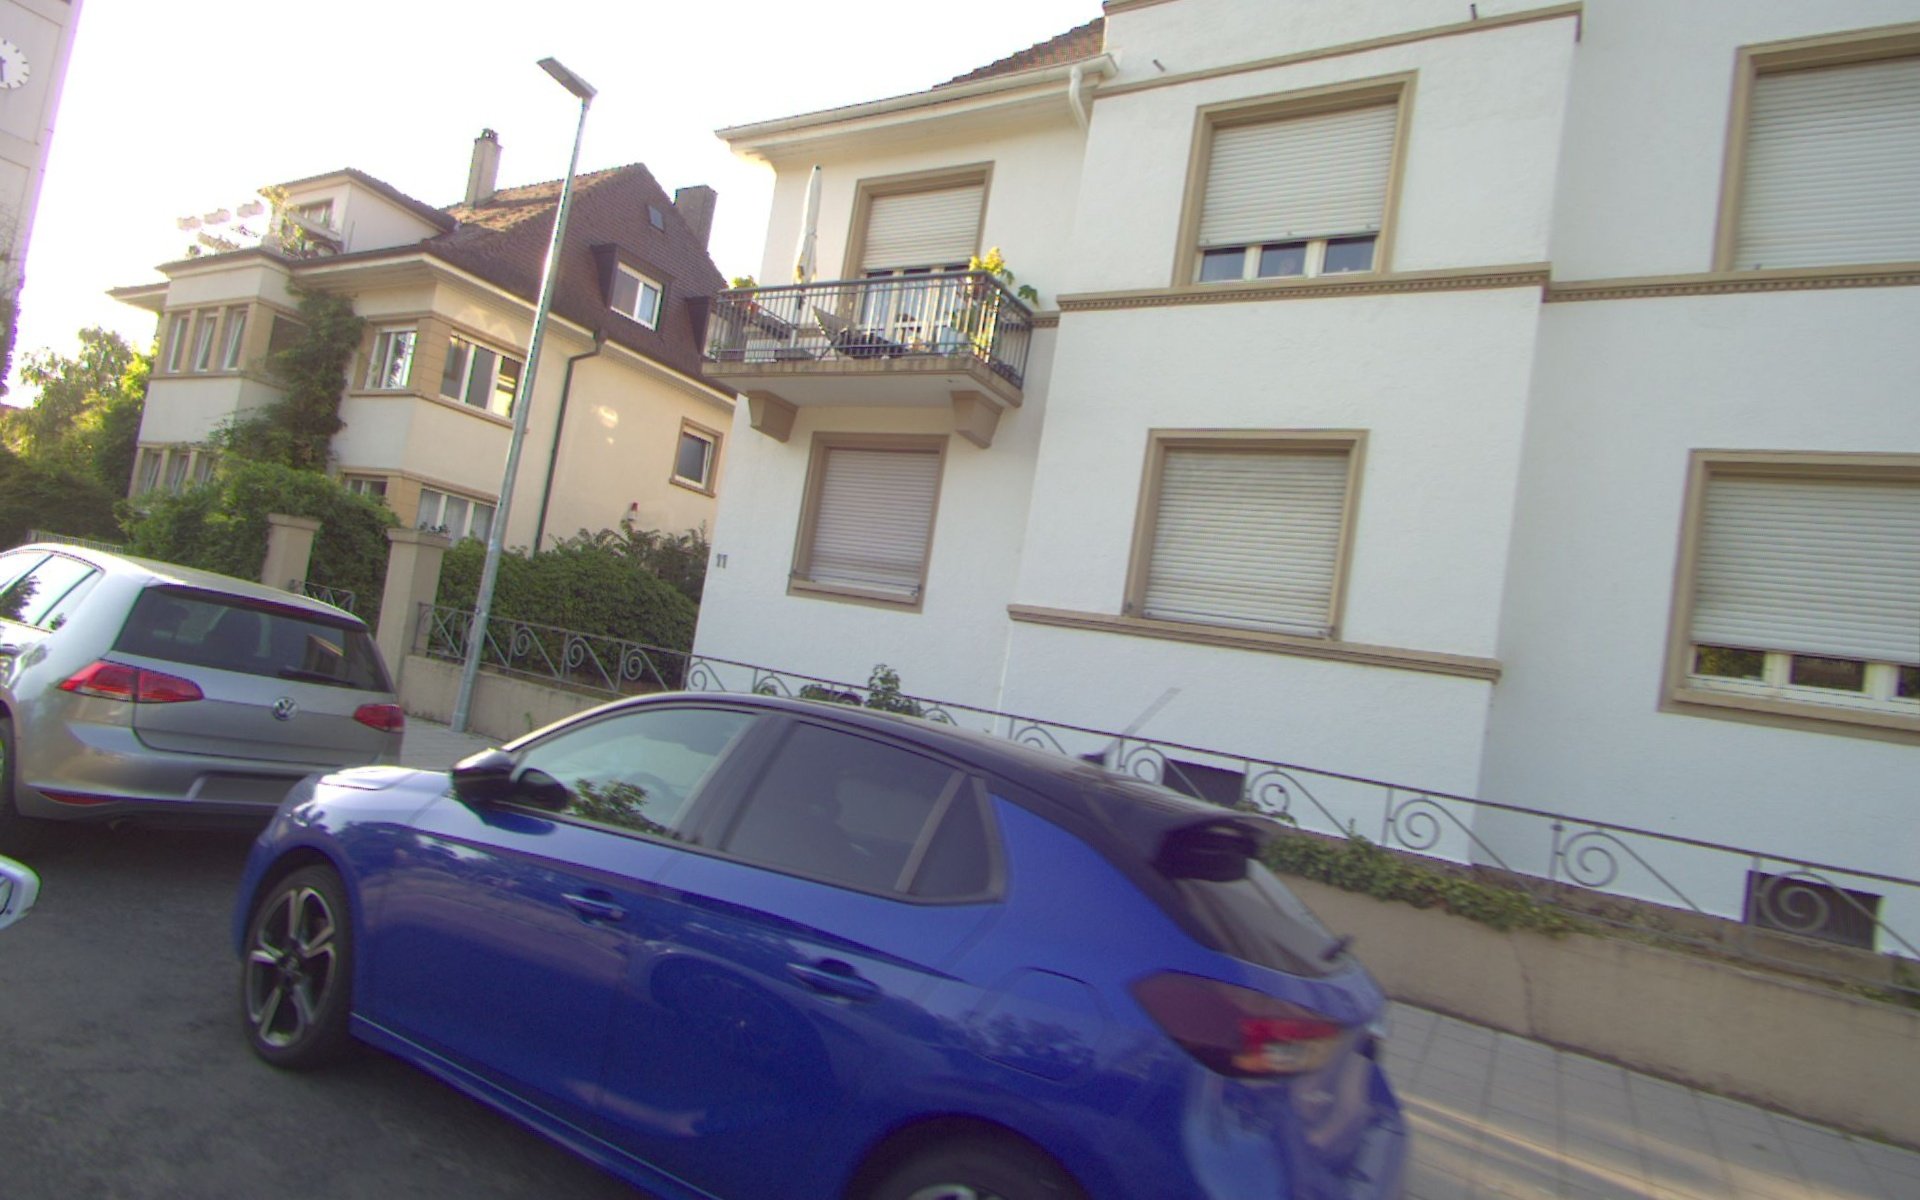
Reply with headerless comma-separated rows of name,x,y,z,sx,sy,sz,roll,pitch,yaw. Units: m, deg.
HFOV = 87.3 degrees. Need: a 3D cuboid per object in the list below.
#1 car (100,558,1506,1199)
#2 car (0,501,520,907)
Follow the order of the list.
car,-0.668,0.966,3.340,4.231,1.445,1.775,6,-11,30
car,-5.044,0.410,6.092,4.490,1.571,1.922,8,-8,32
